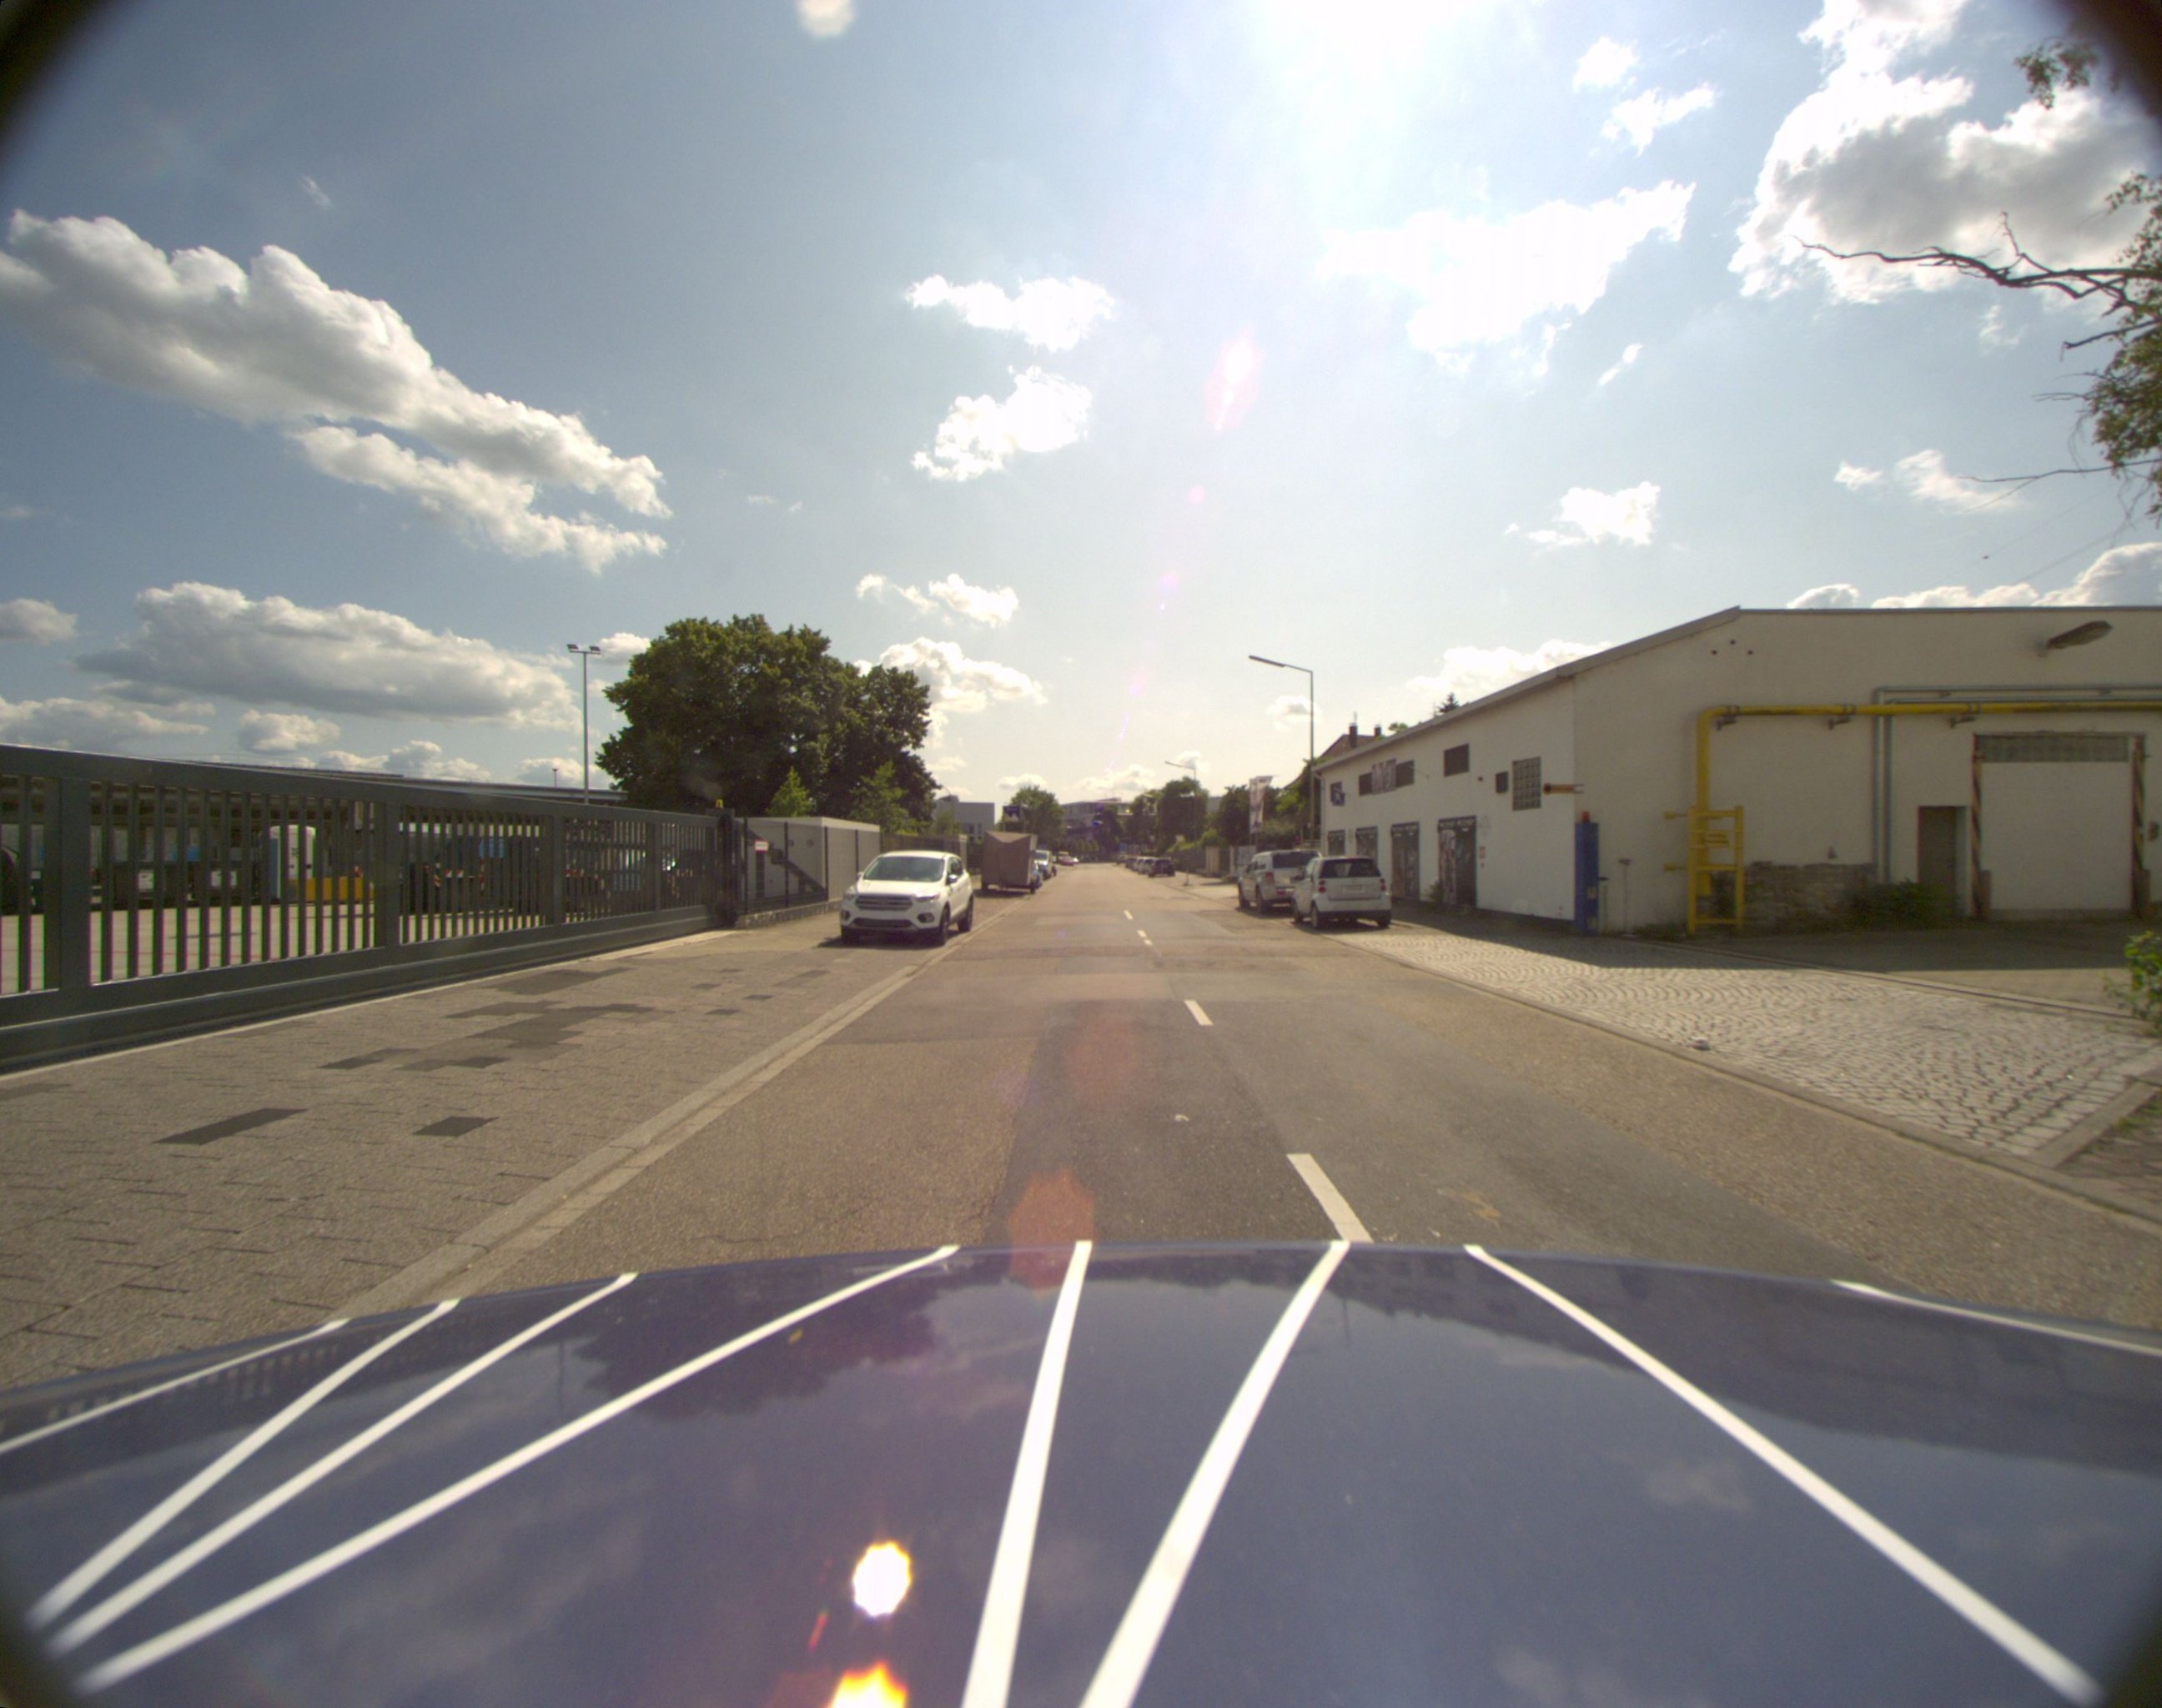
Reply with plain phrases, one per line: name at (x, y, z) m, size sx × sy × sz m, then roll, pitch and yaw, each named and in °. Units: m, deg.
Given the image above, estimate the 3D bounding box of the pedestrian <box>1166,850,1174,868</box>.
pedestrian at (8.738, 0.478, 74.494) m, size 0.710 × 1.791 × 0.916 m, roll -1°, pitch 1°, yaw 1°

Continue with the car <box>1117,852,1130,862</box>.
car at (7.345, 0.474, 131.535) m, size 1.762 × 1.565 × 4.475 m, roll -1°, pitch 1°, yaw -3°

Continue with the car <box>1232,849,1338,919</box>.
car at (5.723, 0.755, 21.945) m, size 1.795 × 1.709 × 4.751 m, roll -3°, pitch 0°, yaw 1°

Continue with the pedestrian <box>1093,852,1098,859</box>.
pedestrian at (3.235, 0.295, 171.544) m, size 0.845 × 1.682 × 0.830 m, roll -2°, pitch 1°, yaw -8°

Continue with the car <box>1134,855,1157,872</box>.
car at (6.010, 0.871, 70.920) m, size 1.624 × 1.513 × 4.174 m, roll -1°, pitch 0°, yaw -2°

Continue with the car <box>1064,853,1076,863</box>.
car at (-1.676, 0.622, 120.406) m, size 1.758 × 1.478 × 4.224 m, roll 3°, pitch 0°, yaw 1°

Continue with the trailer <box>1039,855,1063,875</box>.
trailer at (-2.533, 0.865, 62.505) m, size 1.754 × 1.409 × 4.547 m, roll 2°, pitch 1°, yaw -4°

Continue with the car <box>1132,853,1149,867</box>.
car at (6.578, 0.662, 84.893) m, size 1.670 × 1.458 × 3.743 m, roll -2°, pitch 1°, yaw 2°

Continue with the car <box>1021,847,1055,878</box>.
car at (-2.922, 0.555, 52.634) m, size 1.998 × 2.002 × 5.649 m, roll 0°, pitch 1°, yaw 1°

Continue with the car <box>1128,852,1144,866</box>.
car at (6.968, 0.582, 97.016) m, size 1.655 × 1.636 × 3.273 m, roll -3°, pitch 0°, yaw -1°

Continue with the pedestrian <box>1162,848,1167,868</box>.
pedestrian at (8.155, 0.399, 74.214) m, size 0.452 × 1.883 × 0.677 m, roll -1°, pitch 1°, yaw 1°

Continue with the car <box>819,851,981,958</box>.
car at (-3.290, 0.828, 14.870) m, size 1.940 × 1.683 × 4.679 m, roll 2°, pitch 0°, yaw 1°

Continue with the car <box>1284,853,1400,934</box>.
car at (5.745, 0.804, 17.087) m, size 1.613 × 1.565 × 3.009 m, roll -4°, pitch 0°, yaw 3°

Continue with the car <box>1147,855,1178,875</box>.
car at (6.268, 0.831, 58.547) m, size 1.810 × 1.410 × 4.496 m, roll -3°, pitch 0°, yaw 0°

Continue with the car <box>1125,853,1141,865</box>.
car at (6.989, 0.634, 101.679) m, size 1.849 × 1.499 × 4.000 m, roll -3°, pitch 0°, yaw 1°

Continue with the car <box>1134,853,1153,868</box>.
car at (6.558, 0.651, 80.176) m, size 1.649 × 1.469 × 4.028 m, roll -1°, pitch 1°, yaw 0°

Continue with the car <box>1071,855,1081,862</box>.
car at (-0.994, 0.924, 153.029) m, size 1.759 × 1.211 × 4.222 m, roll -1°, pitch 0°, yaw -5°

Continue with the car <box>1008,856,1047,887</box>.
car at (-2.769, 0.887, 39.994) m, size 1.695 × 1.452 × 4.070 m, roll 2°, pitch 1°, yaw 0°

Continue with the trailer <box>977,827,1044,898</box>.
trailer at (-2.951, 0.302, 33.422) m, size 2.210 × 2.721 × 6.221 m, roll 2°, pitch 1°, yaw 0°

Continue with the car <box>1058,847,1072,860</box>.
car at (-3.072, -0.073, 144.838) m, size 2.163 × 2.450 × 6.635 m, roll 1°, pitch 1°, yaw -5°
